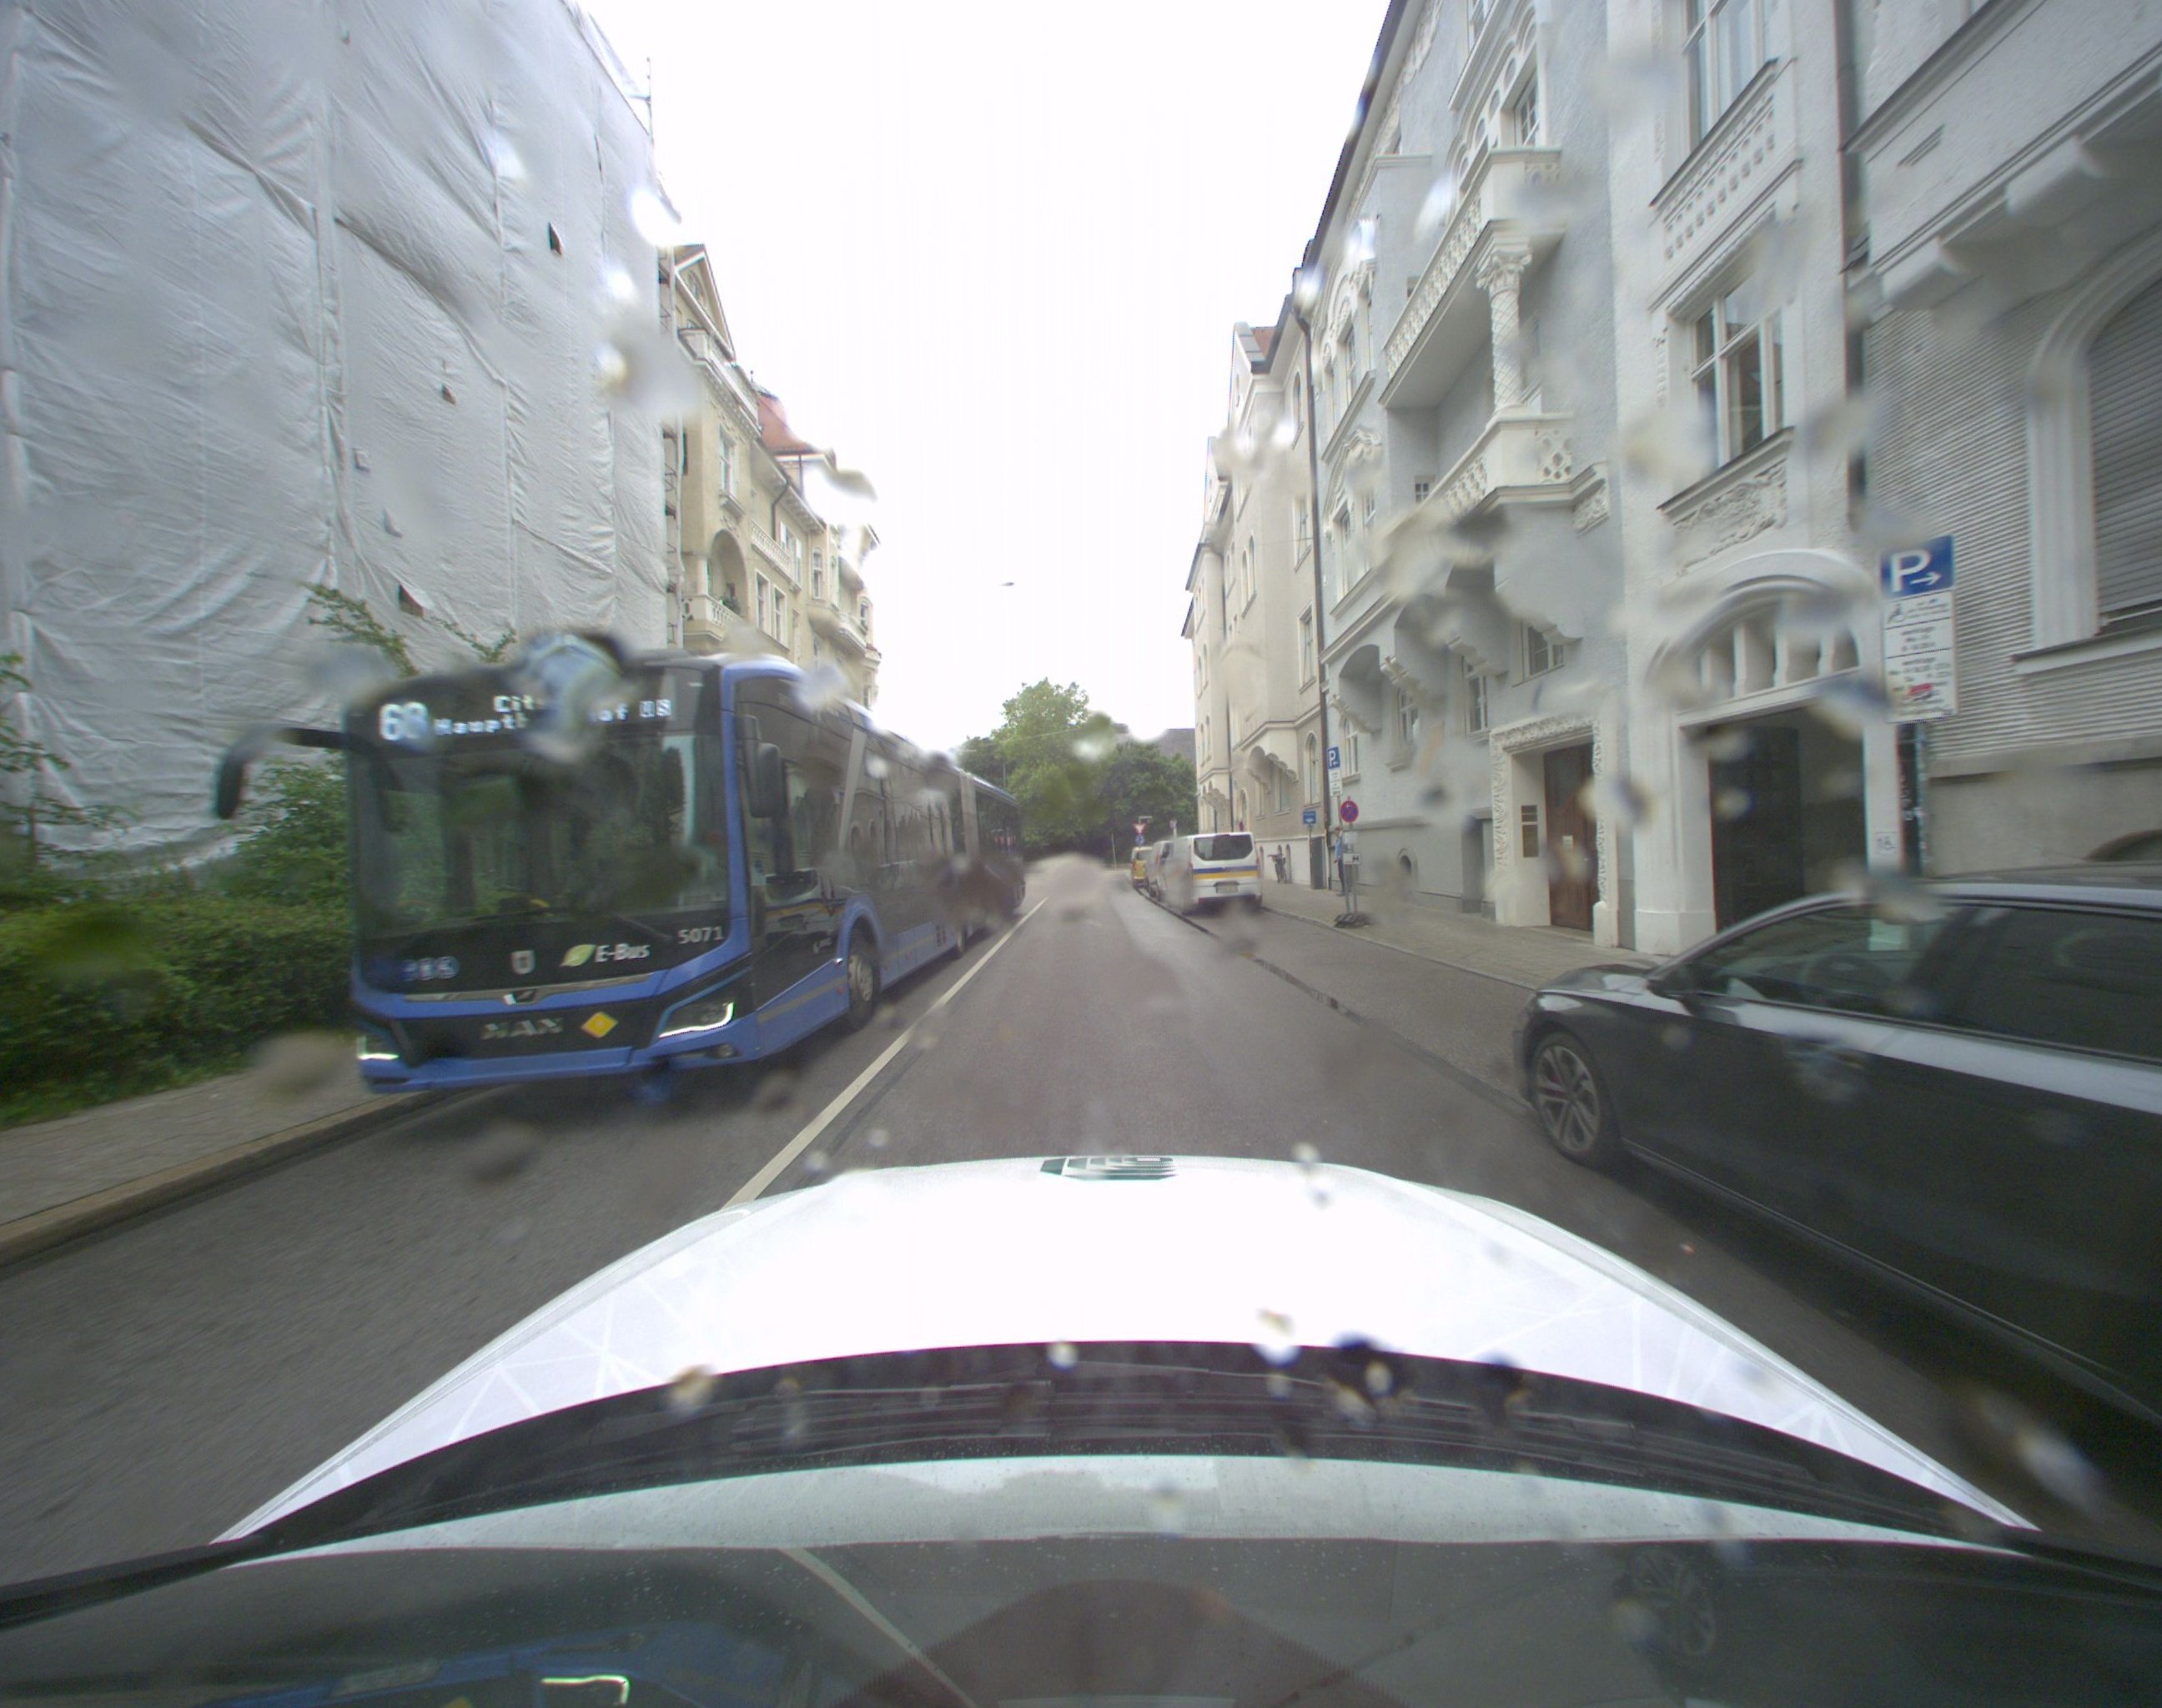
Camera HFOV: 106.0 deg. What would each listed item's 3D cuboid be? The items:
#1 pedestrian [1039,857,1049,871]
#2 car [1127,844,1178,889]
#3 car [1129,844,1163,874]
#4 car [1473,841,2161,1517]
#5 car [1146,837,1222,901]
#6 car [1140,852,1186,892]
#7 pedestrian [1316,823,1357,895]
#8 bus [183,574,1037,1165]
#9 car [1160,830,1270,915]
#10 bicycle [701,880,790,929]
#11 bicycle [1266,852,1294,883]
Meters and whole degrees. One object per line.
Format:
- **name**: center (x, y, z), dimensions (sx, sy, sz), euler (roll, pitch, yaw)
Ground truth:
- **pedestrian**: center (-3.651, 0.990, 80.122), dimensions (0.766, 1.356, 1.132), euler (-2, 0, 2)
- **car**: center (3.334, 0.572, 38.689), dimensions (1.987, 1.918, 4.571), euler (-2, 0, 1)
- **car**: center (4.514, 0.334, 57.345), dimensions (1.932, 1.922, 5.374), euler (-3, 0, 0)
- **car**: center (3.208, 0.693, 2.690), dimensions (1.782, 1.407, 4.244), euler (-2, 0, 1)
- **car**: center (3.398, 0.476, 27.736), dimensions (1.987, 1.918, 4.886), euler (-2, 0, 1)
- **car**: center (3.356, 0.699, 33.869), dimensions (1.627, 1.514, 3.887), euler (-2, 0, 2)
- **pedestrian**: center (6.983, 0.133, 22.327), dimensions (0.848, 1.903, 0.747), euler (-2, 0, 4)
- **bus**: center (-3.231, 0.111, 13.734), dimensions (3.159, 3.212, 18.066), euler (-4, 0, 2)
- **car**: center (3.409, 0.441, 21.732), dimensions (1.988, 1.918, 4.876), euler (-2, 0, -1)
- **bicycle**: center (-8.134, 1.213, 19.789), dimensions (1.853, 1.077, 0.691), euler (2, 0, 2)
- **bicycle**: center (7.629, 0.520, 31.233), dimensions (0.663, 1.133, 1.723), euler (-2, 0, 2)
